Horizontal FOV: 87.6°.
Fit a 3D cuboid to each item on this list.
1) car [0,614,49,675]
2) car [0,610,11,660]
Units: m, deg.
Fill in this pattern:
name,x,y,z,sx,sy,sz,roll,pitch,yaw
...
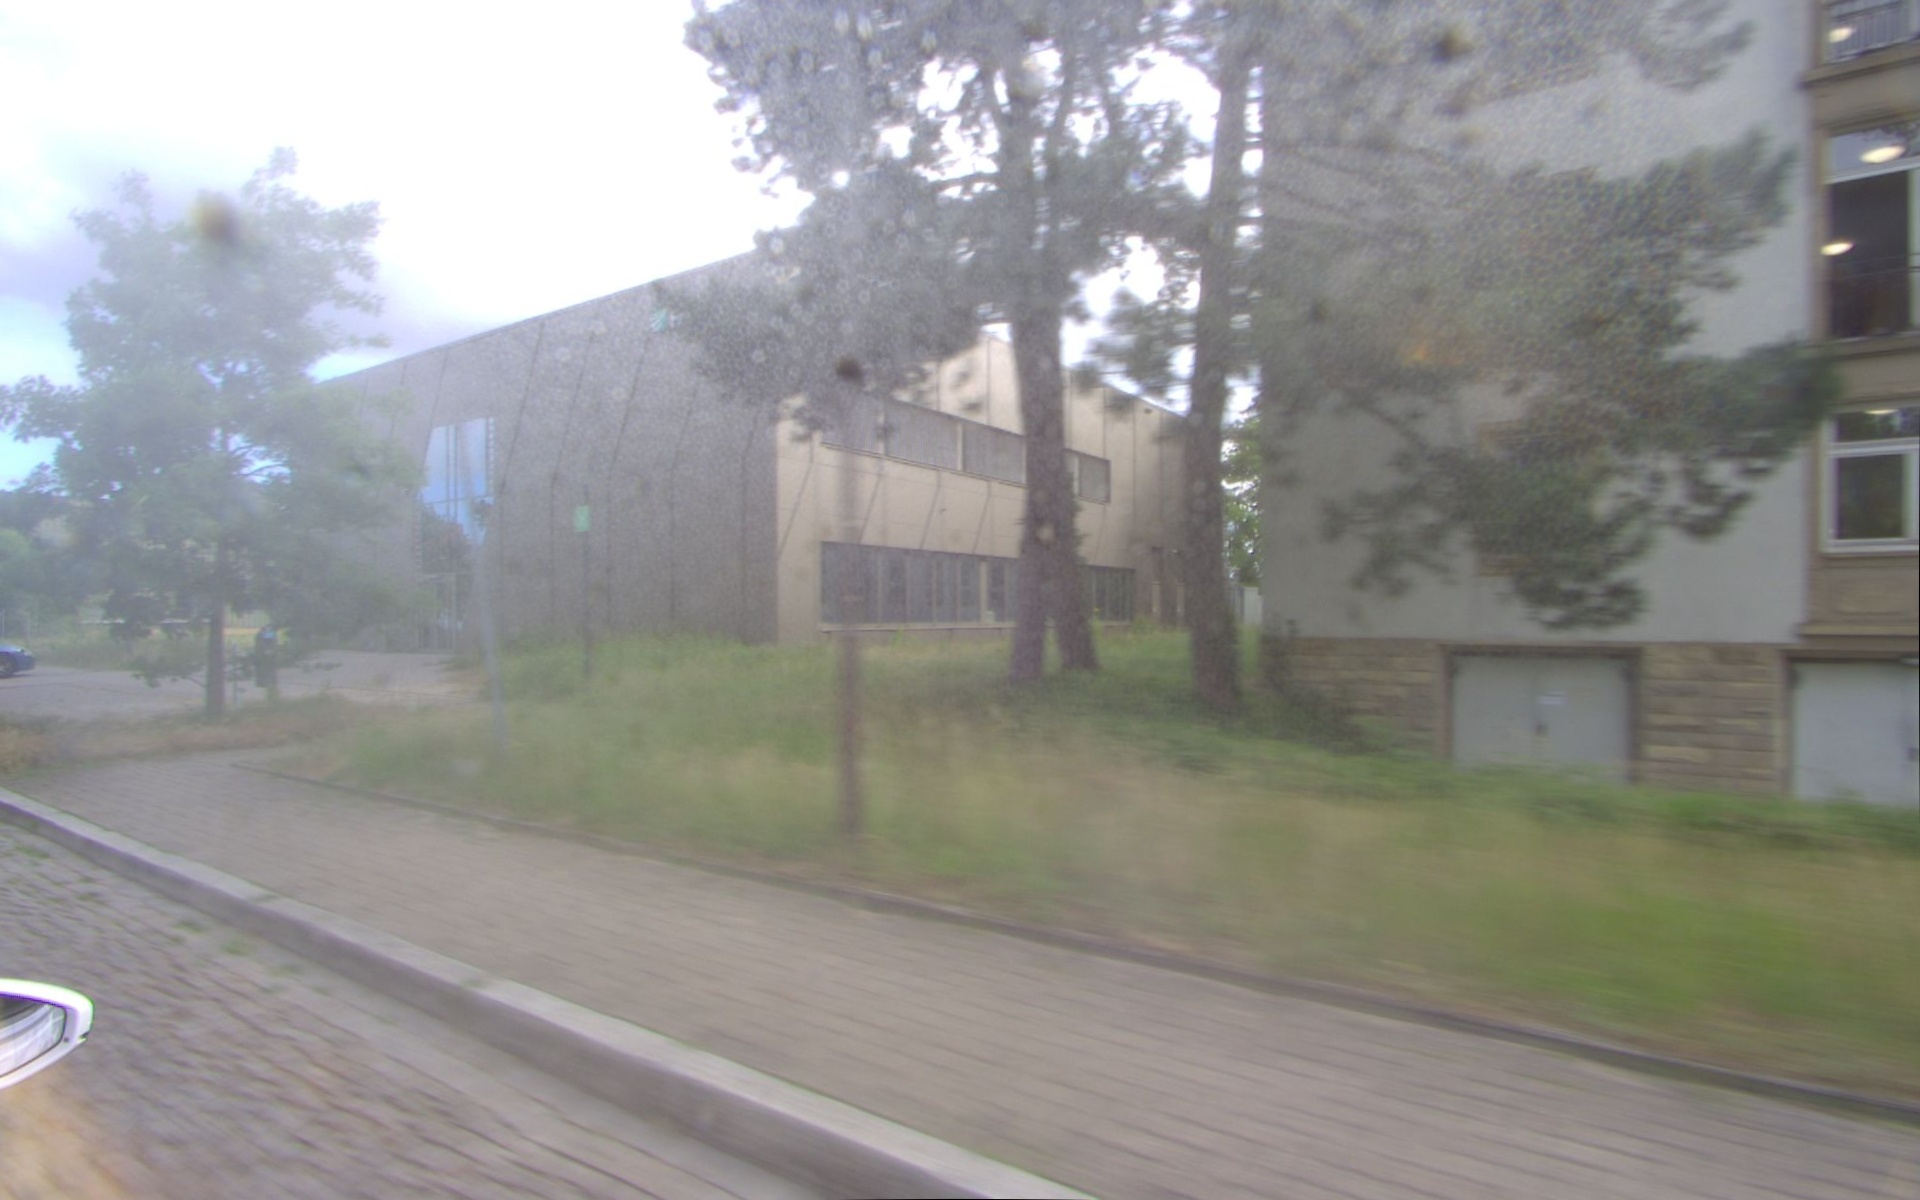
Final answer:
name,x,y,z,sx,sy,sz,roll,pitch,yaw
car,-26.299,1.189,25.281,1.971,1.552,4.508,0,1,31
car,-31.854,1.125,30.125,1.973,1.552,4.503,0,1,35
